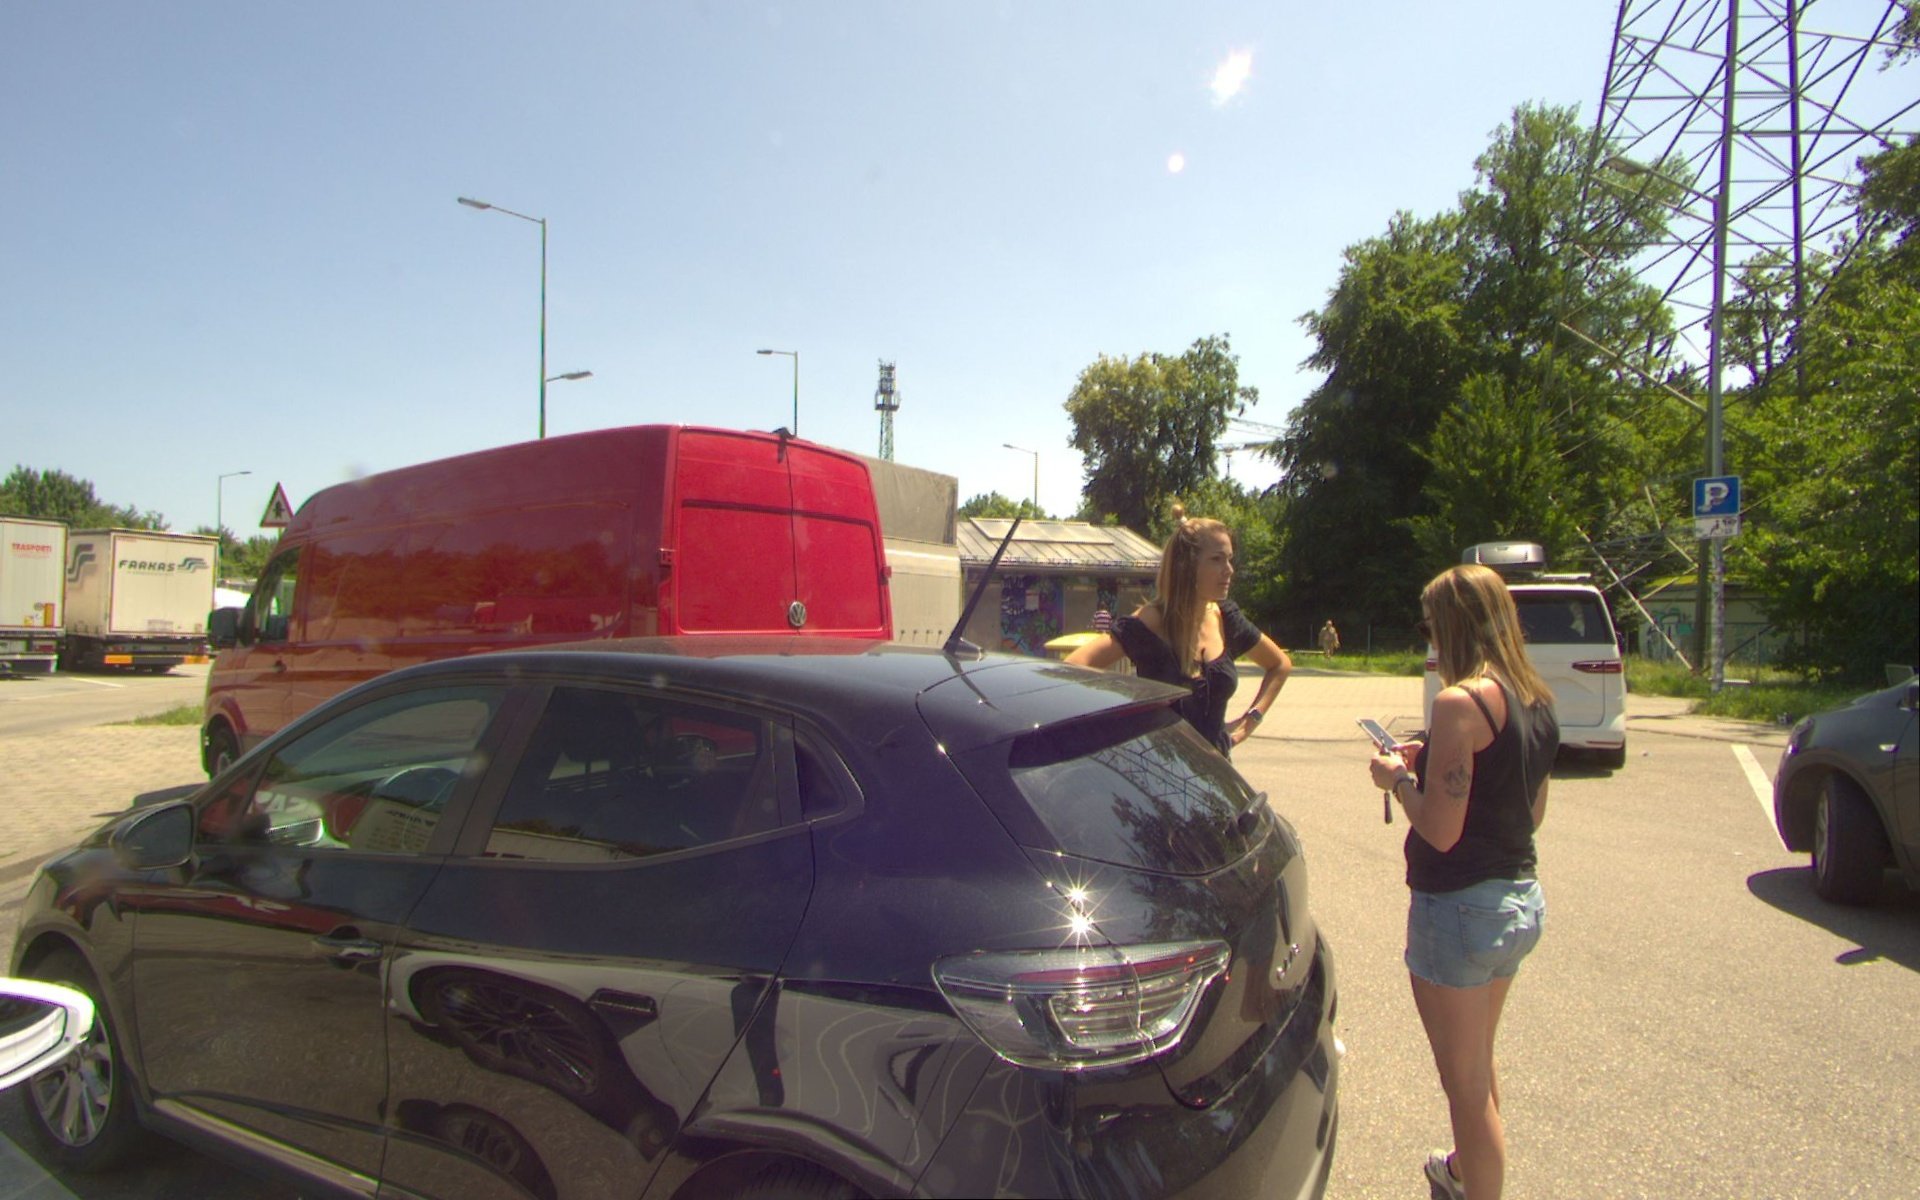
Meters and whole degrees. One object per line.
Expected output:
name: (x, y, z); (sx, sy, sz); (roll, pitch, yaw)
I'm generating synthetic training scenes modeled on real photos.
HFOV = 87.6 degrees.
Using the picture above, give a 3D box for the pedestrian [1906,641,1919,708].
pedestrian: (17.126, 1.304, 17.439); (0.694, 1.178, 0.787); (-1, -1, 22)

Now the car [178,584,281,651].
car: (-29.921, 0.755, 41.027); (3.943, 2.632, 2.111); (-1, -2, 32)

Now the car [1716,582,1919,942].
car: (5.195, 0.735, 3.845); (1.803, 1.638, 4.168); (1, -1, 7)

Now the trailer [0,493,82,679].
trailer: (-28.587, -0.339, 27.869); (12.642, 4.511, 2.677); (0, -1, 32)

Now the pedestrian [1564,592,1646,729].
pedestrian: (9.278, 0.861, 14.432); (0.762, 1.903, 0.839); (0, -1, 16)

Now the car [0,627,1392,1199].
car: (-0.834, 0.832, 2.803); (3.629, 1.476, 1.776); (-1, -2, 28)

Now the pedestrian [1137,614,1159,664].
pedestrian: (5.601, 1.151, 29.809); (0.521, 1.478, 0.576); (0, 0, 23)

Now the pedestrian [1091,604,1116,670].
pedestrian: (3.889, 0.993, 27.074); (0.520, 1.783, 0.651); (0, 0, 23)

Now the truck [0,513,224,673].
truck: (-27.060, -0.024, 31.184); (11.800, 4.279, 2.582); (-1, -2, 32)

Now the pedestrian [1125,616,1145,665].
pedestrian: (4.905, 1.125, 28.068); (0.439, 1.362, 0.477); (0, 0, 23)

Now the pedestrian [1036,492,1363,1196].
pedestrian: (0.752, 0.664, 3.125); (0.900, 1.884, 0.485); (1, 0, -31)

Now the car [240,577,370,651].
car: (-29.450, 0.601, 44.944); (6.259, 3.114, 2.495); (0, -1, 32)

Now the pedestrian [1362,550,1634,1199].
pedestrian: (1.198, 0.718, 2.259); (0.478, 1.615, 0.501); (0, 0, 29)

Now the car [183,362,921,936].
car: (-3.375, 0.255, 7.331); (6.298, 2.668, 1.988); (0, -1, 36)

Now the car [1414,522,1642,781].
car: (6.670, 0.537, 11.888); (1.901, 2.401, 4.954); (1, -1, 29)

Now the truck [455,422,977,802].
truck: (-2.490, 0.177, 9.923); (4.751, 2.863, 2.514); (-1, -2, 34)

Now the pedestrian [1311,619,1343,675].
pedestrian: (13.601, 1.739, 37.106); (0.955, 2.039, 0.829); (0, -1, 10)
